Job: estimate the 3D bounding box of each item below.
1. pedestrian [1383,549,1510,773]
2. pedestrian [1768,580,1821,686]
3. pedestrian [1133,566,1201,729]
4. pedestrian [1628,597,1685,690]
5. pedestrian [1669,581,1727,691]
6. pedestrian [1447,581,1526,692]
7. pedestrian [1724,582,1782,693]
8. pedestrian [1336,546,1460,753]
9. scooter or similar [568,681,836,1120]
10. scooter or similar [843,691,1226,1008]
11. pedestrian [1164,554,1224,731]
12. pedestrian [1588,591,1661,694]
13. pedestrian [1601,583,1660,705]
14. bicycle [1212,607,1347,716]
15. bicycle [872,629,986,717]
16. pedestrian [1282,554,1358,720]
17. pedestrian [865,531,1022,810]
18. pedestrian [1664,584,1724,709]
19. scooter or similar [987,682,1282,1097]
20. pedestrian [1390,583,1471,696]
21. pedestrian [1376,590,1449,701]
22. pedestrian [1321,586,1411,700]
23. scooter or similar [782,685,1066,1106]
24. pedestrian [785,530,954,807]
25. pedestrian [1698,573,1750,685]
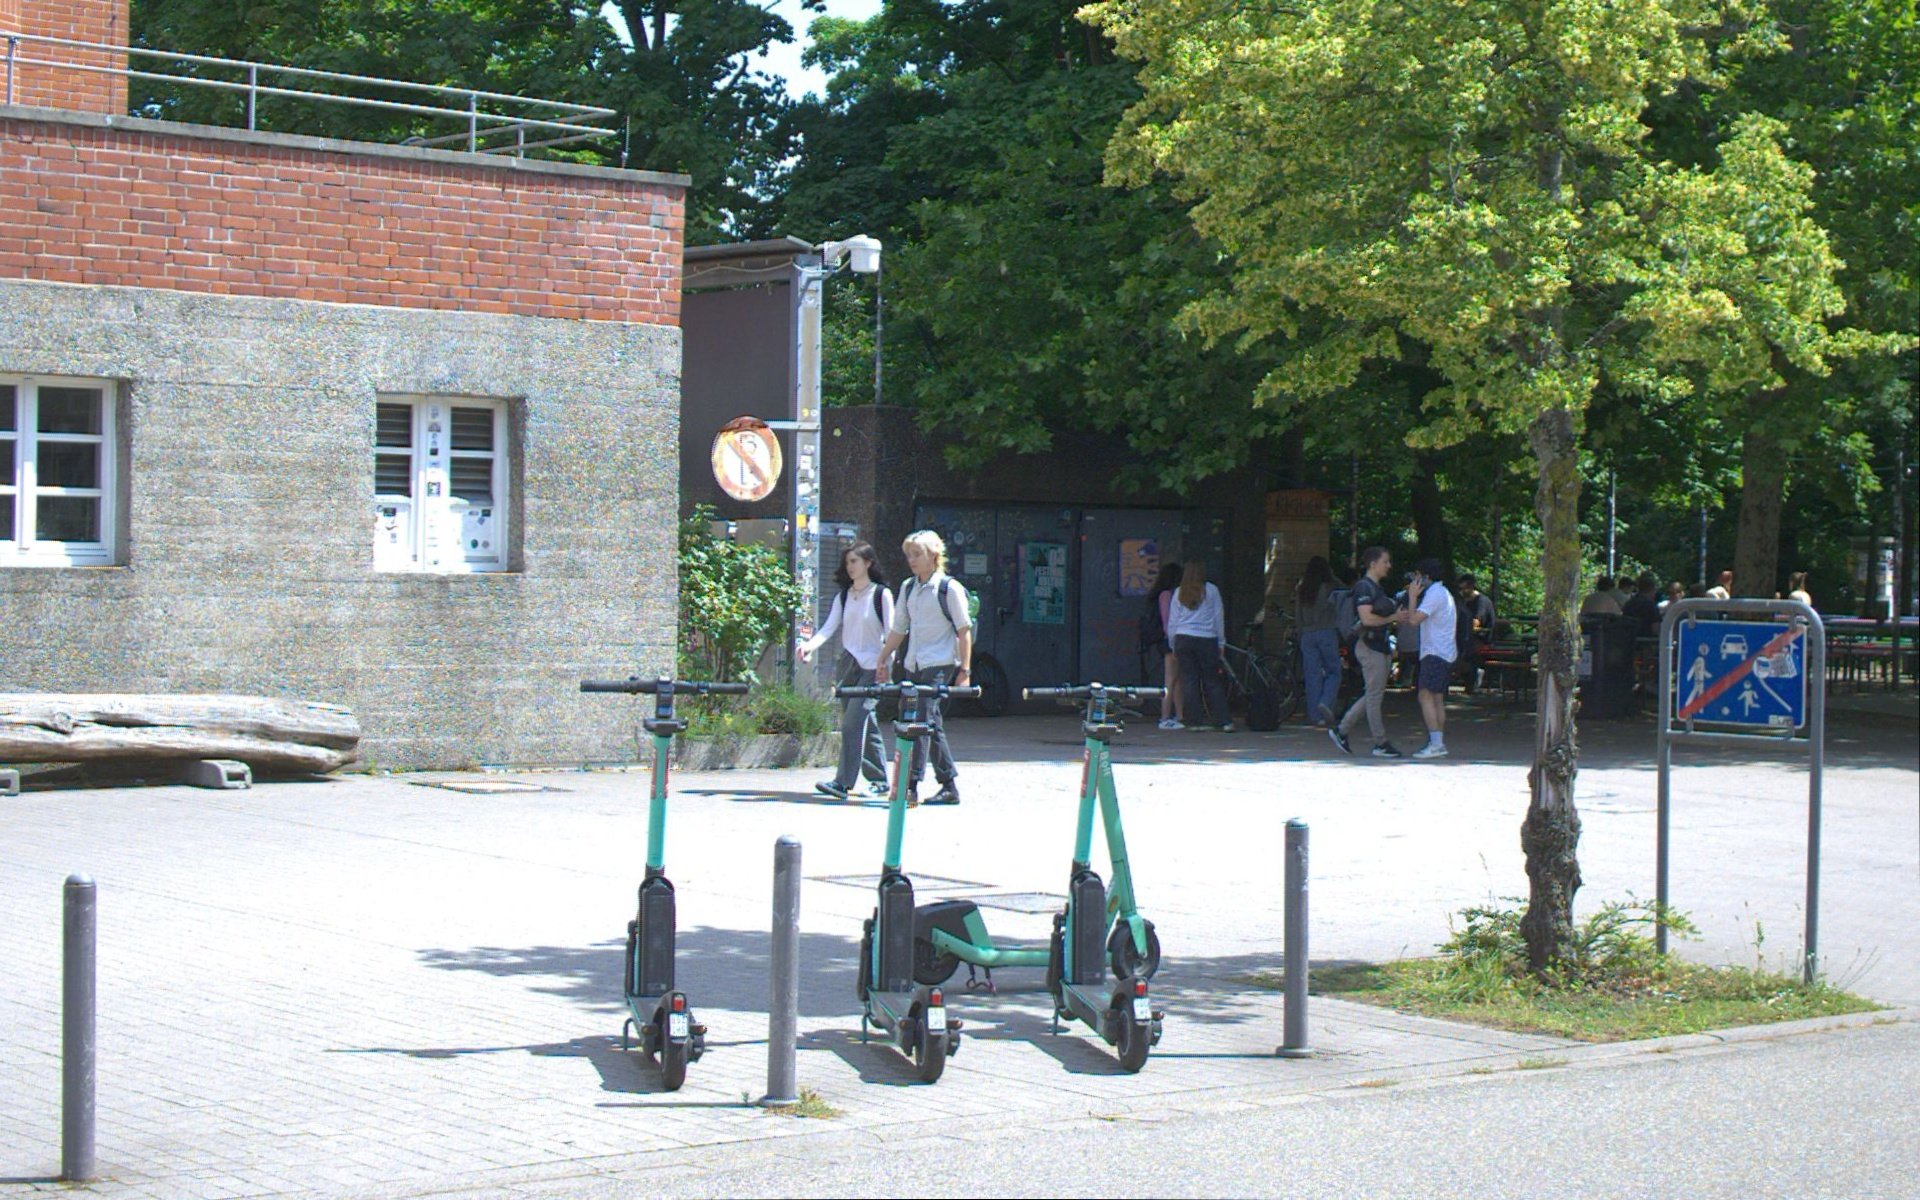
[{"bbox_3d":[4.044,0.506,28.585,0.877,1.814,0.449,2,-1,-13],"label":"pedestrian"},{"bbox_3d":[11.410,0.444,47.003,0.506,1.417,0.459,2,1,39],"label":"pedestrian"},{"bbox_3d":[2.066,0.469,34.292,0.604,1.587,0.412,2,2,8],"label":"pedestrian"},{"bbox_3d":[9.123,0.564,45.035,0.392,1.190,0.729,2,1,40],"label":"pedestrian"},{"bbox_3d":[8.580,0.411,39.933,0.594,1.229,0.742,1,3,15],"label":"pedestrian"},{"bbox_3d":[6.167,0.423,40.261,0.691,1.267,0.562,1,1,-40],"label":"pedestrian"},{"bbox_3d":[9.166,0.431,39.721,0.594,1.229,0.742,1,3,15],"label":"pedestrian"},{"bbox_3d":[3.721,0.421,29.233,0.877,1.714,0.489,2,-1,-13],"label":"pedestrian"},{"bbox_3d":[-0.842,0.897,10.837,0.568,1.220,1.575,1,0,-14],"label":"scooter or similar"},{"bbox_3d":[0.291,0.937,13.231,1.345,1.145,0.565,1,0,-29],"label":"scooter or similar"},{"bbox_3d":[2.305,0.414,33.796,0.529,1.705,0.448,2,2,5],"label":"pedestrian"},{"bbox_3d":[8.243,0.519,42.611,0.570,1.246,0.765,2,1,38],"label":"pedestrian"},{"bbox_3d":[7.737,0.501,39.646,0.594,1.364,0.703,1,3,15],"label":"pedestrian"},{"bbox_3d":[3.307,0.635,35.604,1.346,1.073,0.417,2,-1,6],"label":"bicycle"},{"bbox_3d":[-0.310,0.738,34.950,1.228,0.880,0.305,1,0,-39],"label":"bicycle"},{"bbox_3d":[3.660,0.369,34.950,0.677,1.645,0.503,2,2,10],"label":"pedestrian"},{"bbox_3d":[-0.105,0.443,22.105,0.803,1.756,0.565,1,0,-41],"label":"pedestrian"},{"bbox_3d":[8.360,0.518,39.144,0.594,1.364,0.742,1,3,15],"label":"pedestrian"},{"bbox_3d":[0.549,0.915,11.410,0.522,1.220,1.575,1,0,-14],"label":"scooter or similar"},{"bbox_3d":[5.424,0.452,39.636,0.691,1.267,0.562,1,1,-40],"label":"pedestrian"},{"bbox_3d":[5.415,0.540,41.178,0.557,1.318,0.647,1,0,-39],"label":"pedestrian"},{"bbox_3d":[4.772,0.500,40.395,0.776,1.318,0.689,1,0,-39],"label":"pedestrian"},{"bbox_3d":[-0.147,0.921,11.266,0.563,1.220,1.575,1,0,-14],"label":"scooter or similar"},{"bbox_3d":[-0.592,0.439,22.560,0.915,1.773,0.577,1,0,-41],"label":"pedestrian"},{"bbox_3d":[10.551,0.400,47.474,0.506,1.517,0.473,2,1,39],"label":"pedestrian"}]
